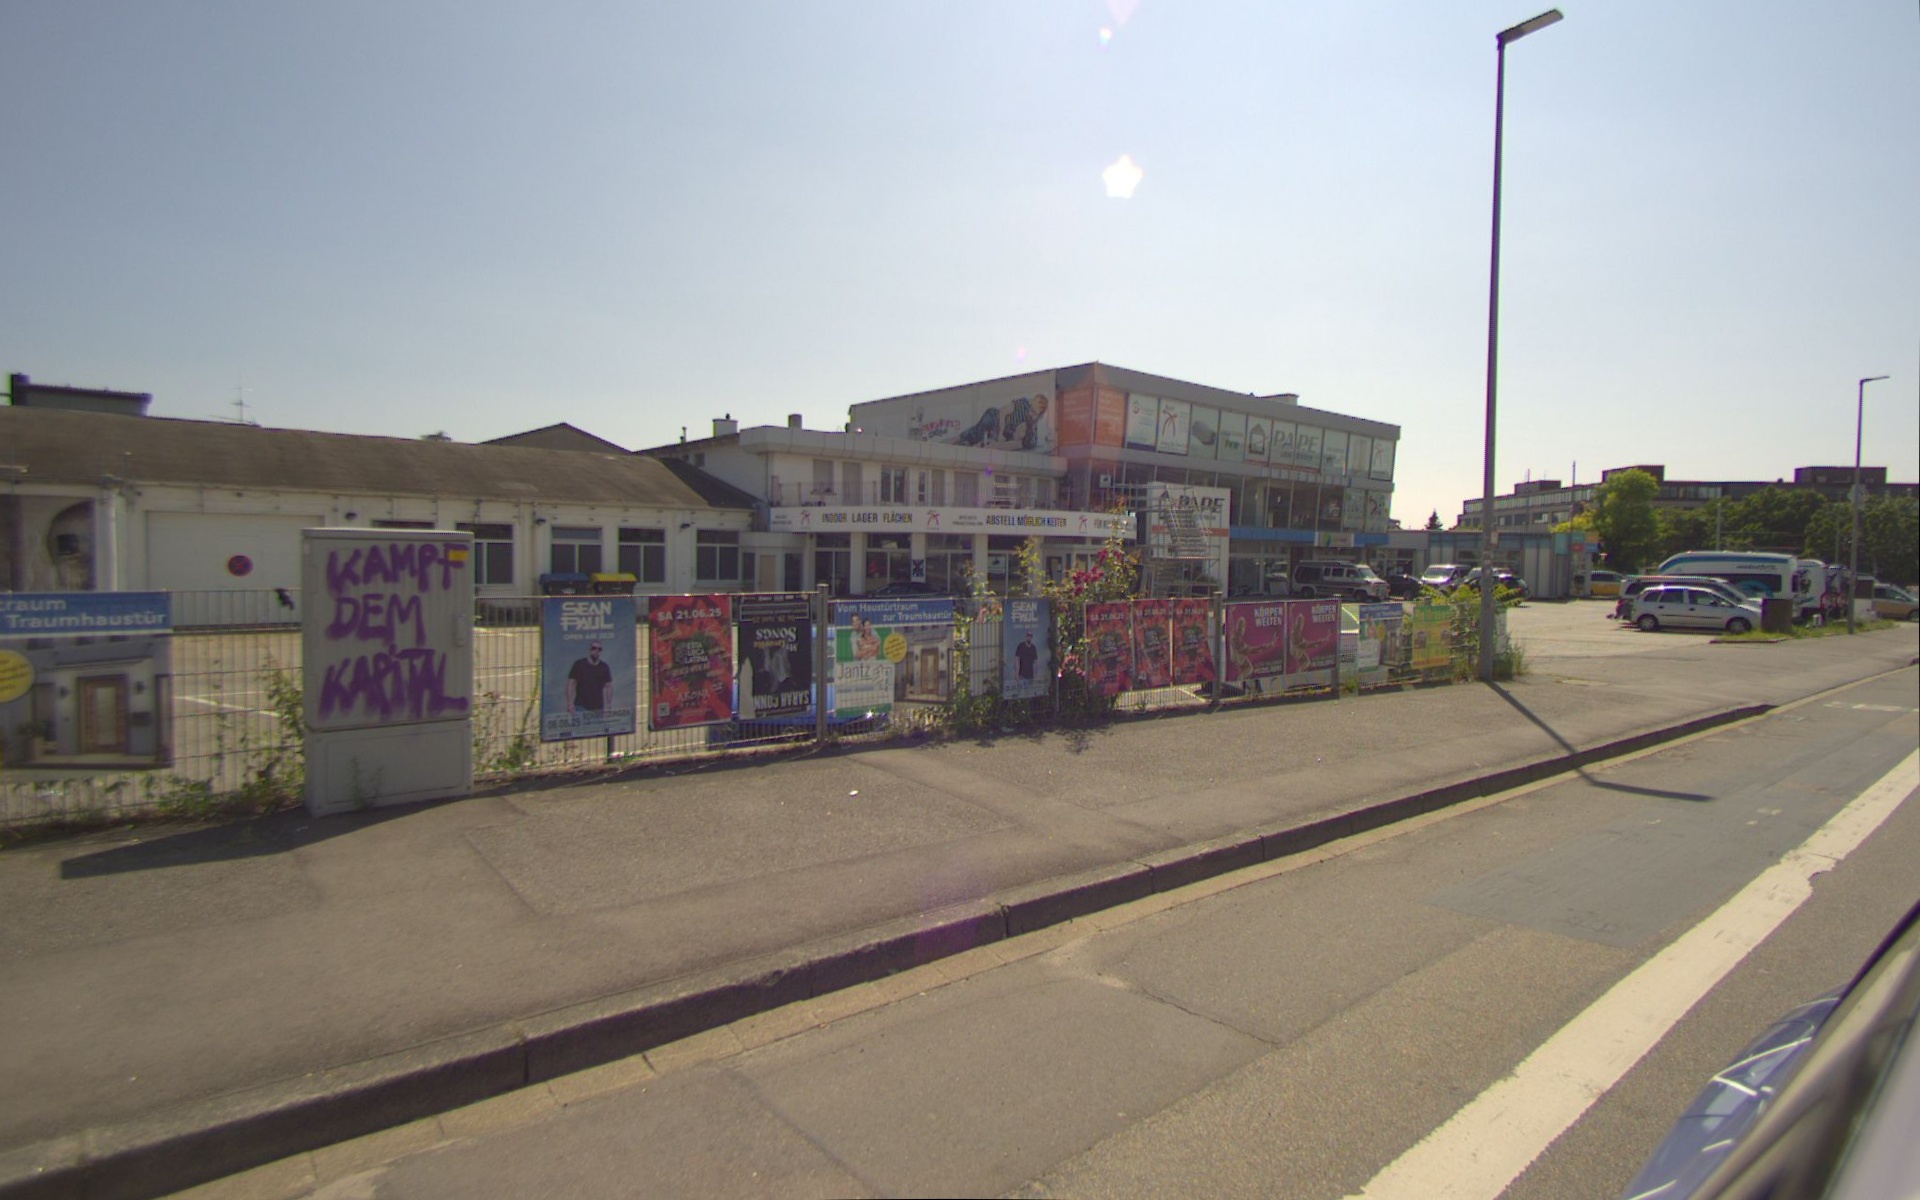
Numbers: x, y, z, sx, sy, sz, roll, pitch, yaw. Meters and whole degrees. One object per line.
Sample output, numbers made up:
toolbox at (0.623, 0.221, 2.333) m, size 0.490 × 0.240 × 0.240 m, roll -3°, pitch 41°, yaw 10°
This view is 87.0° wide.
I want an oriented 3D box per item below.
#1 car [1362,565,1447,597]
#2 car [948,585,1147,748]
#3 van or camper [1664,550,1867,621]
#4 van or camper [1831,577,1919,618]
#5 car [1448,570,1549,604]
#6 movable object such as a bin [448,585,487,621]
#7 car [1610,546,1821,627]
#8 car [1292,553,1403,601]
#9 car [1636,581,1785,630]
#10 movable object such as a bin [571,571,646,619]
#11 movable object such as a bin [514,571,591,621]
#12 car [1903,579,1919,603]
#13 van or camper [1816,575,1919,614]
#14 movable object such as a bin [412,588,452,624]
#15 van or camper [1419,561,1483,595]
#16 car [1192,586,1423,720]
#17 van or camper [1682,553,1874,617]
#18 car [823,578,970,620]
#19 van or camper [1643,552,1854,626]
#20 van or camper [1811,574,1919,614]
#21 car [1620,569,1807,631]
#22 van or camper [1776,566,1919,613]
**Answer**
car at (26.257, -1.137, 59.874) m, size 1.967 × 1.754 × 4.110 m, roll 0°, pitch 3°, yaw -44°
car at (0.901, 0.676, 12.521) m, size 1.856 × 1.636 × 3.834 m, roll 1°, pitch 1°, yaw -4°
van or camper at (34.288, -0.685, 43.271) m, size 2.665 × 2.749 × 6.363 m, roll 0°, pitch 3°, yaw -40°
van or camper at (51.475, -0.103, 55.525) m, size 5.072 × 1.985 × 1.975 m, roll 3°, pitch 4°, yaw 19°
car at (29.716, -0.756, 55.952) m, size 1.967 × 1.698 × 4.542 m, roll 0°, pitch 3°, yaw -44°
movable object such as a bin at (-14.659, 0.080, 30.115) m, size 0.746 × 1.049 × 0.862 m, roll 2°, pitch 2°, yaw 45°
car at (29.562, -0.628, 39.838) m, size 2.279 × 2.904 × 6.242 m, roll 0°, pitch 3°, yaw -40°
car at (21.595, -1.319, 56.581) m, size 2.285 × 2.448 × 5.308 m, roll 0°, pitch 3°, yaw -41°
car at (26.250, 0.157, 35.496) m, size 1.767 × 1.613 × 3.928 m, roll 0°, pitch 0°, yaw -41°
movable object such as a bin at (-11.297, -0.185, 32.536) m, size 1.571 × 1.474 × 1.796 m, roll 2°, pitch 2°, yaw 45°
movable object such as a bin at (-12.573, -0.138, 31.260) m, size 1.571 × 1.474 × 1.727 m, roll 2°, pitch 2°, yaw 45°
car at (90.344, -0.654, 93.521) m, size 1.958 × 1.967 × 4.449 m, roll -2°, pitch 9°, yaw -3°
van or camper at (54.783, -0.326, 60.301) m, size 5.071 × 2.101 × 2.439 m, roll 2°, pitch 2°, yaw 18°
movable object such as a bin at (-15.356, 0.168, 29.436) m, size 0.746 × 1.004 × 0.862 m, roll 2°, pitch 2°, yaw 45°
van or camper at (30.586, -1.364, 63.015) m, size 2.118 × 2.038 × 5.035 m, roll 3°, pitch 3°, yaw 43°
car at (5.289, 0.683, 16.238) m, size 1.986 × 1.641 × 5.046 m, roll -4°, pitch 1°, yaw 2°
van or camper at (36.207, -0.723, 44.989) m, size 2.573 × 2.555 × 6.209 m, roll 0°, pitch 3°, yaw -40°
car at (-2.033, -0.038, 32.921) m, size 4.482 × 1.306 × 1.889 m, roll 0°, pitch 1°, yaw 11°
van or camper at (32.132, -0.534, 41.450) m, size 2.665 × 2.733 × 6.363 m, roll 0°, pitch 3°, yaw -40°
van or camper at (52.388, -0.368, 58.044) m, size 4.920 × 2.070 × 2.030 m, roll 3°, pitch 3°, yaw 19°
car at (28.008, -0.062, 37.781) m, size 1.965 × 1.975 × 5.246 m, roll 0°, pitch 3°, yaw -41°
van or camper at (55.378, -0.674, 63.179) m, size 6.269 × 2.669 × 2.523 m, roll 2°, pitch 2°, yaw 14°
